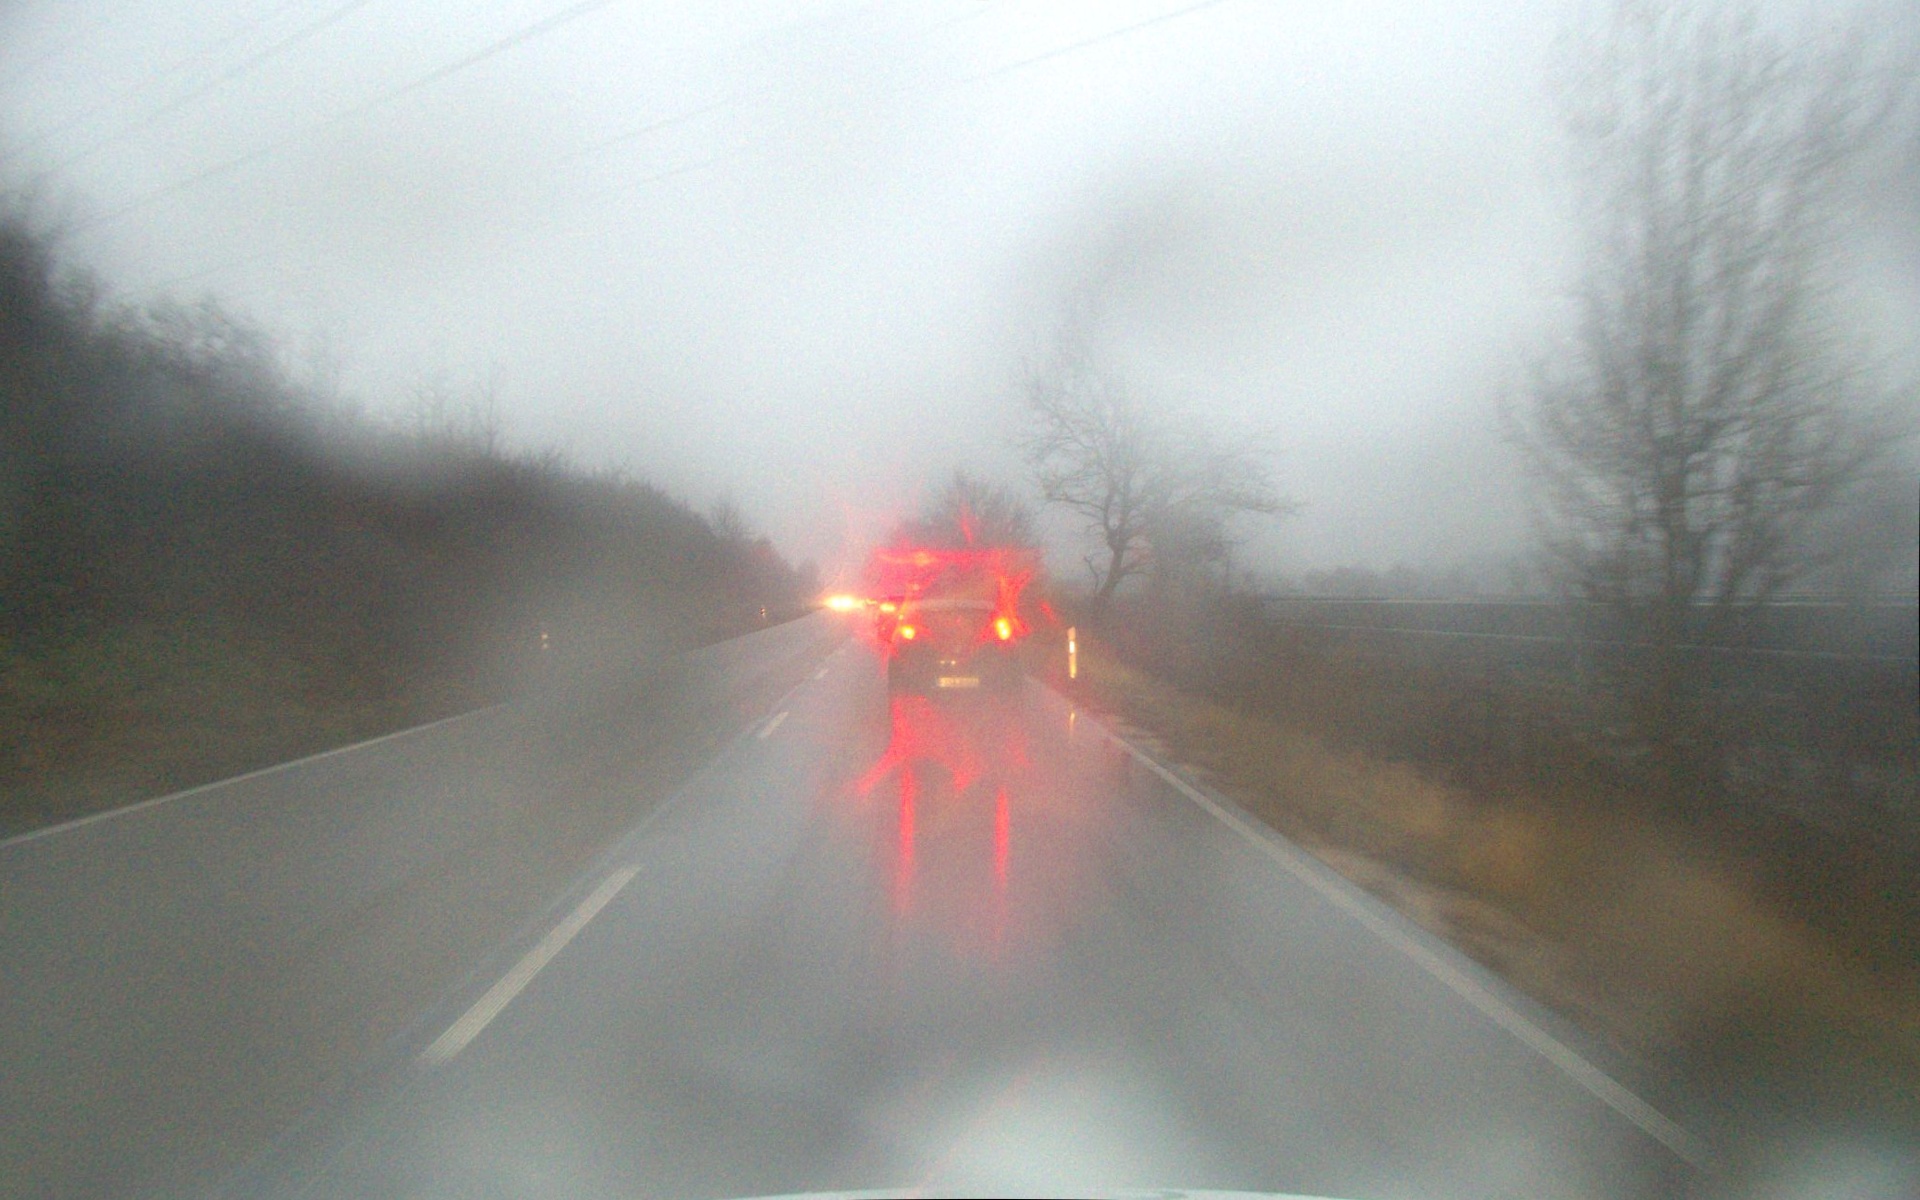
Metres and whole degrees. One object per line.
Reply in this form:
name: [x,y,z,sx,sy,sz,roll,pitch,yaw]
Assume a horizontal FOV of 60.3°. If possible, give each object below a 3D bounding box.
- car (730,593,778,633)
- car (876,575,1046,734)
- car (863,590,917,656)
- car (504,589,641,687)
car: [-9.945,0.623,80.130,1.954,1.816,3.998,1,0,-3]
car: [-0.072,0.647,21.194,1.954,1.816,3.998,1,0,-3]
car: [-2.110,0.674,50.101,1.543,1.908,3.707,1,0,-3]
car: [-6.987,0.654,30.153,1.740,1.637,3.771,-1,0,-3]
